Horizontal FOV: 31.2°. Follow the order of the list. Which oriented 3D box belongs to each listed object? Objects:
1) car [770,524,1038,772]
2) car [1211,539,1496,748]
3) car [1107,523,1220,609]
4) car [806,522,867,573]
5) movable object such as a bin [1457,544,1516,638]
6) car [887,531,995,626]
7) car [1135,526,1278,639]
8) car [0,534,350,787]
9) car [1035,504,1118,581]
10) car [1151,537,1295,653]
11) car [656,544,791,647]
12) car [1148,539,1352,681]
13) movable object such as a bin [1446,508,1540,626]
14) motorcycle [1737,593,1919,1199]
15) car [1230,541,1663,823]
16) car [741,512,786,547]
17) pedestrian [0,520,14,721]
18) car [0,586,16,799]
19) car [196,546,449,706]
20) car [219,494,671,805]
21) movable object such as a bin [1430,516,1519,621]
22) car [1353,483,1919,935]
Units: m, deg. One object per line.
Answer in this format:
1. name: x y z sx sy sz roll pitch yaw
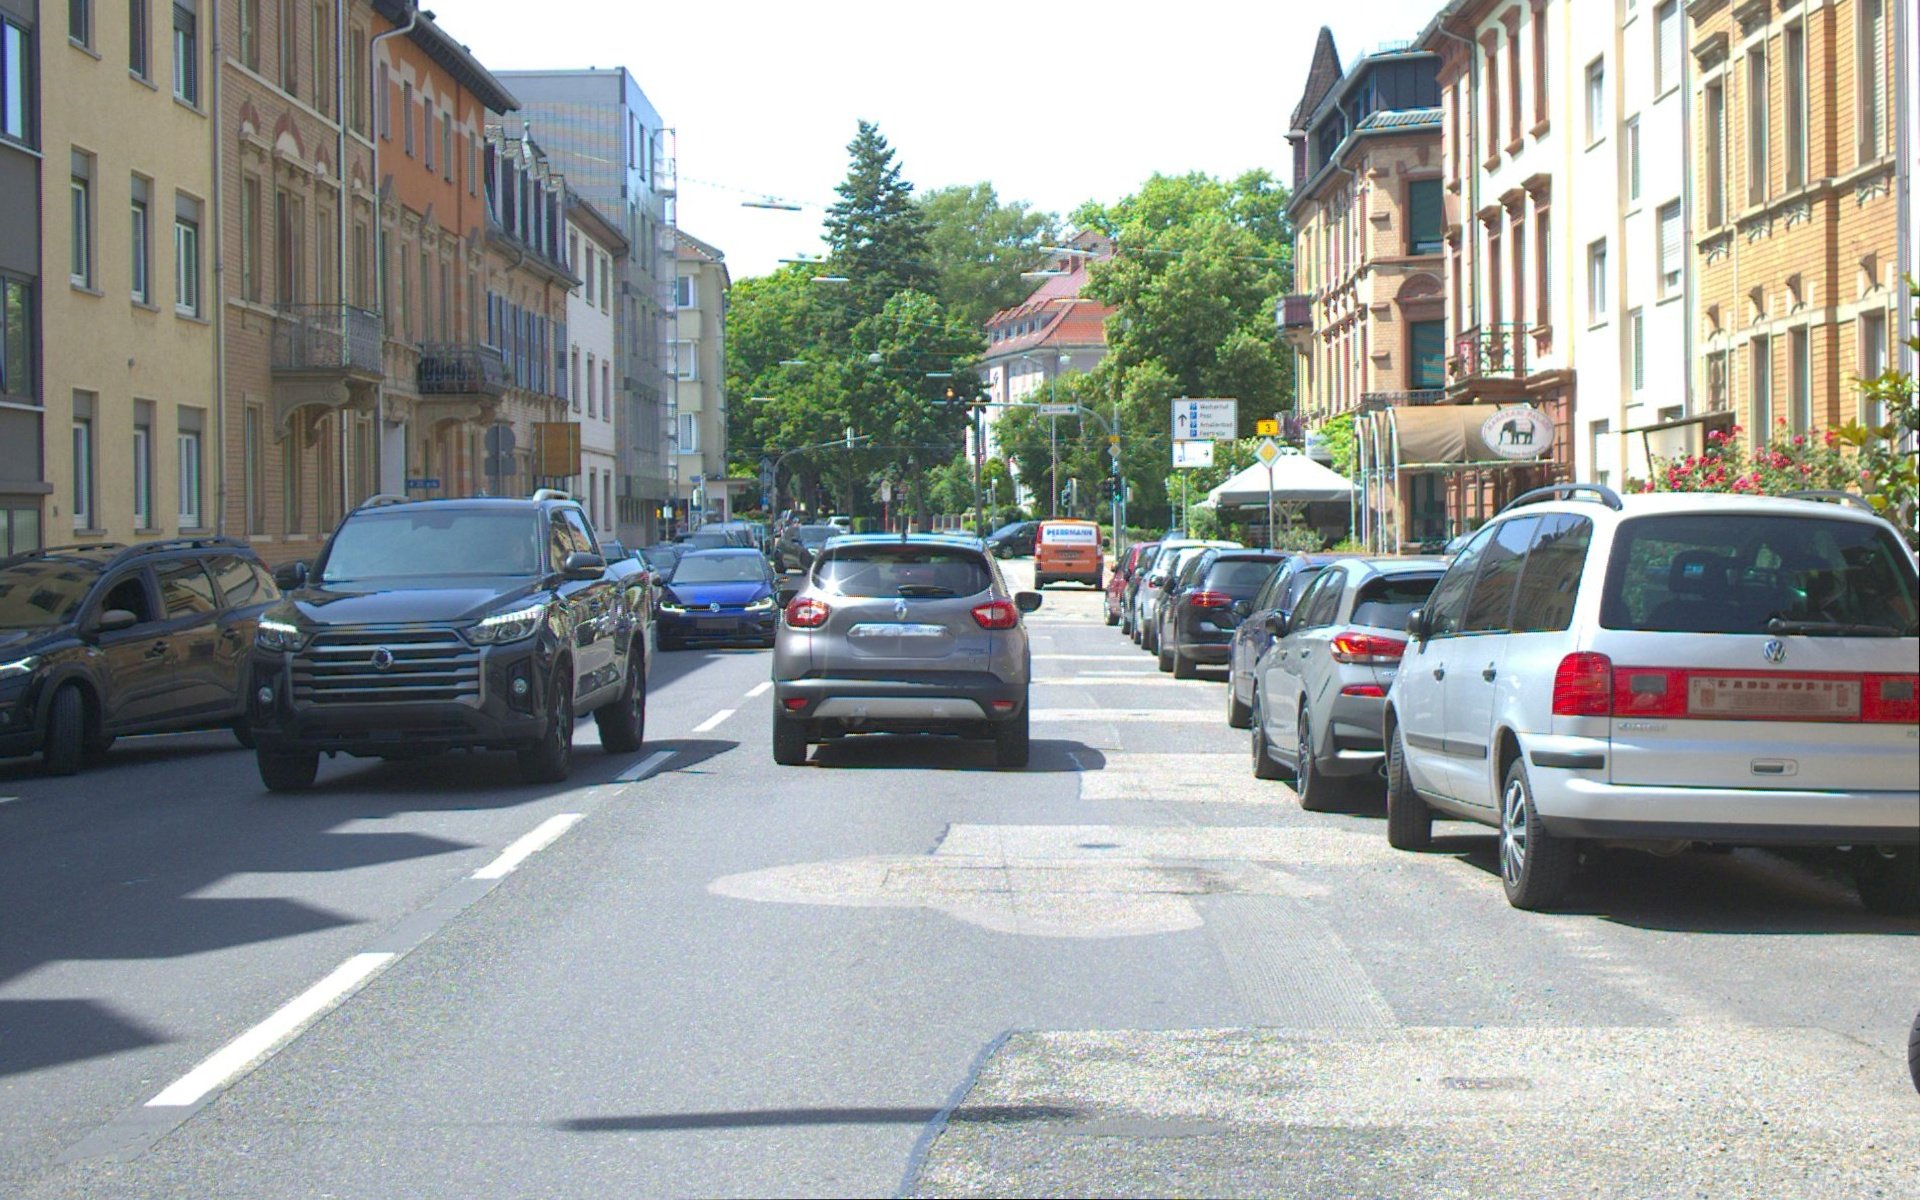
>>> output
1. car: -0.379 0.276 24.541 1.744 1.611 4.000 -1 1 0
2. car: 3.063 0.282 27.623 1.695 1.482 4.618 0 1 -1
3. car: 3.539 -0.613 60.357 1.611 1.438 3.437 -1 1 -3
4. car: -4.047 -1.722 113.010 1.939 1.620 4.000 0 1 -2
5. movable object such as a bin: 6.666 -0.116 43.520 0.638 1.173 0.911 0 1 3
6. car: -0.384 -0.432 63.939 1.812 1.615 4.442 -3 1 -2
7. car: 3.556 -0.291 50.217 1.860 1.548 4.000 1 1 1
8. car: -6.576 0.413 26.018 1.906 1.632 4.554 -3 1 17
9. car: 3.219 -1.597 94.314 1.994 2.006 4.466 -2 1 5
10. car: 3.455 -0.101 45.706 1.660 1.436 4.000 0 2 1
11. car: -3.443 -0.092 50.585 1.816 1.384 4.001 -2 1 -2
12. car: 3.229 0.067 39.074 1.860 1.460 4.618 0 1 -1
13. movable object such as a bin: 6.943 -0.442 44.840 1.043 1.513 1.446 0 1 2
14. motorcycle: 2.945 0.685 7.846 1.994 1.381 1.110 0 1 38
15. car: 2.814 0.412 20.843 1.860 1.482 4.310 0 1 -2
16. car: -9.451 -3.421 165.840 1.790 1.620 3.743 -1 2 2
17. pedestrian: -8.993 0.188 30.175 0.966 1.744 1.155 -2 2 -33
18. car: -6.996 0.645 19.596 1.840 1.417 4.558 -4 1 1
19. car: -6.873 0.231 37.501 1.904 1.505 4.303 -3 1 0
20. car: -3.289 0.229 23.074 1.994 1.786 5.148 -2 1 2
21. movable object such as a bin: 6.909 -0.433 46.213 1.043 1.397 1.254 0 1 2
22. car: 3.111 0.366 15.615 1.860 1.742 4.619 0 1 -3
